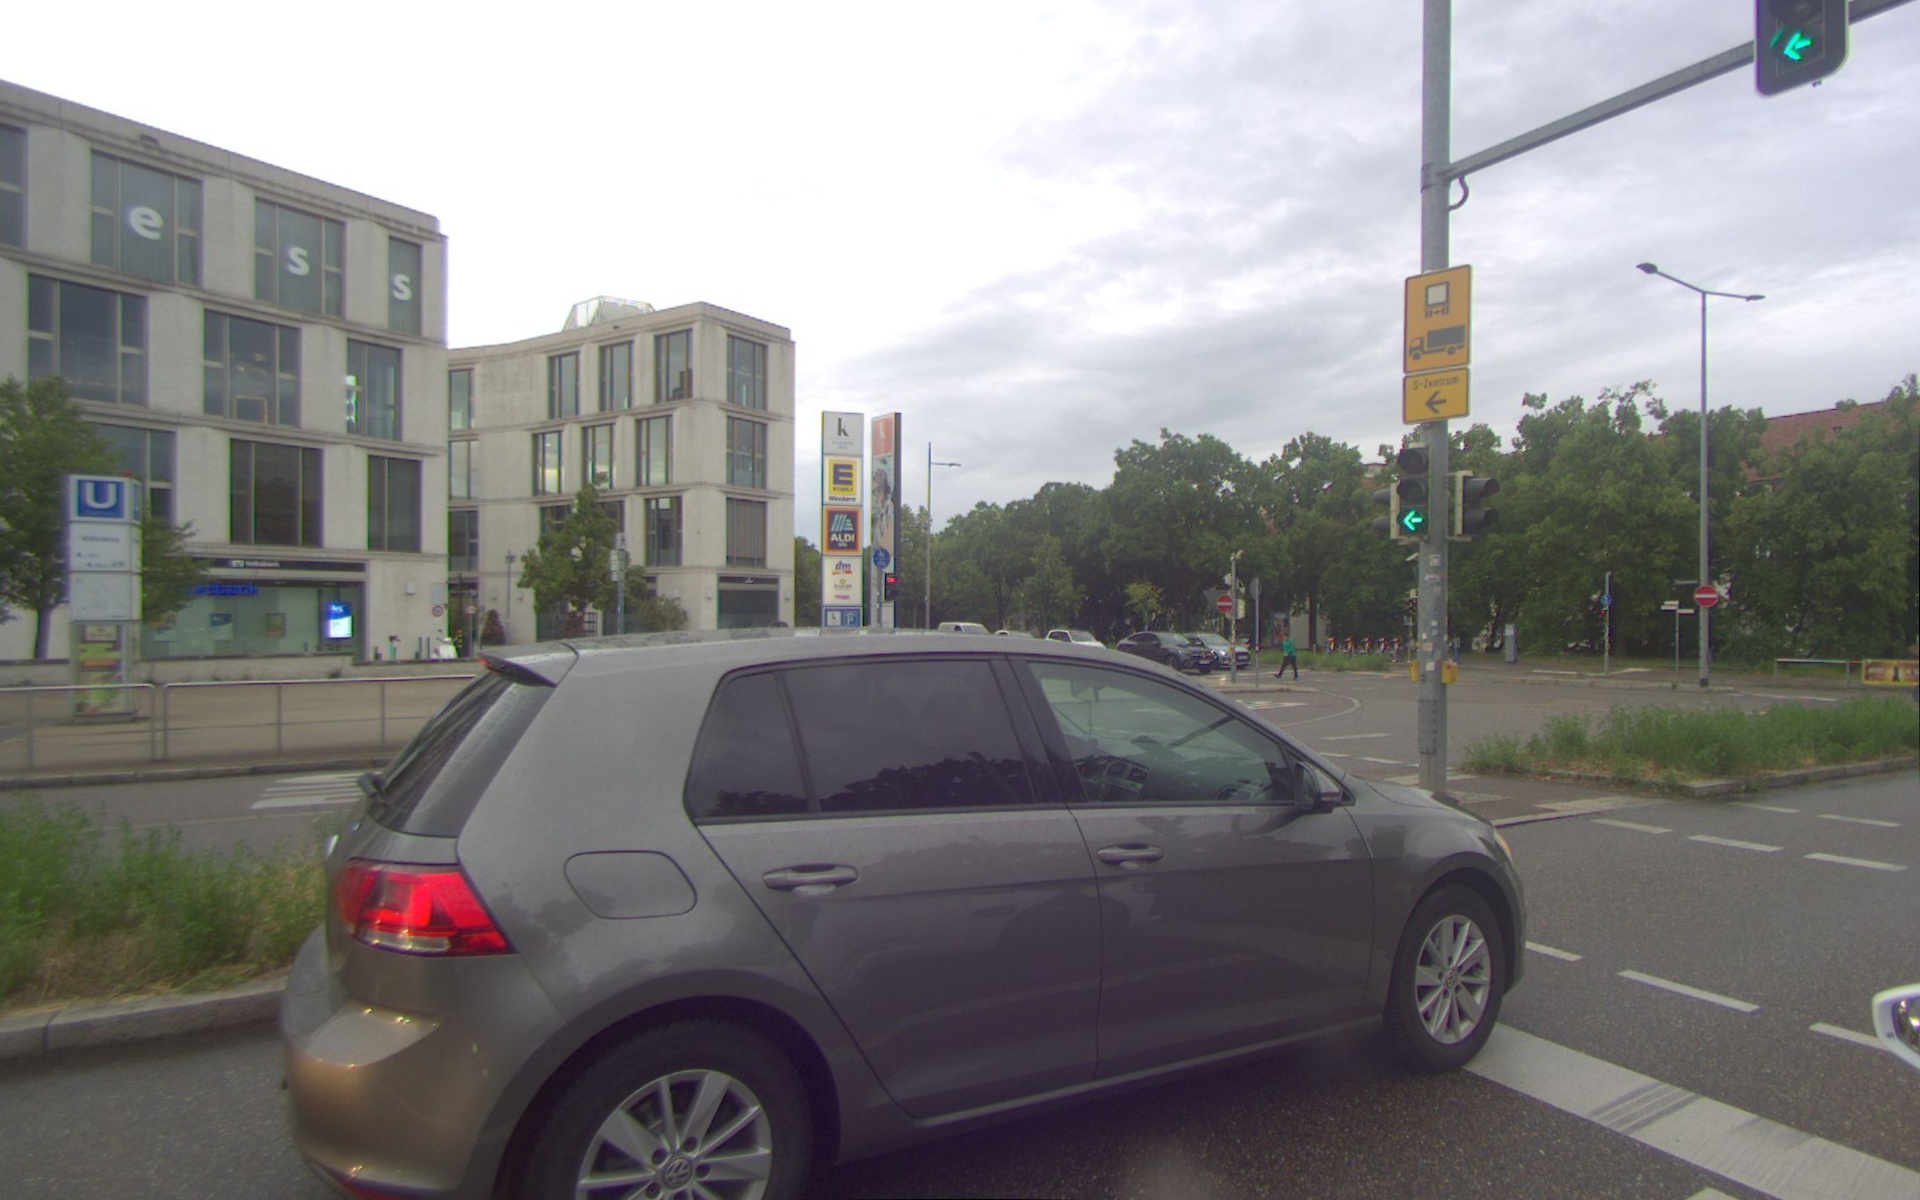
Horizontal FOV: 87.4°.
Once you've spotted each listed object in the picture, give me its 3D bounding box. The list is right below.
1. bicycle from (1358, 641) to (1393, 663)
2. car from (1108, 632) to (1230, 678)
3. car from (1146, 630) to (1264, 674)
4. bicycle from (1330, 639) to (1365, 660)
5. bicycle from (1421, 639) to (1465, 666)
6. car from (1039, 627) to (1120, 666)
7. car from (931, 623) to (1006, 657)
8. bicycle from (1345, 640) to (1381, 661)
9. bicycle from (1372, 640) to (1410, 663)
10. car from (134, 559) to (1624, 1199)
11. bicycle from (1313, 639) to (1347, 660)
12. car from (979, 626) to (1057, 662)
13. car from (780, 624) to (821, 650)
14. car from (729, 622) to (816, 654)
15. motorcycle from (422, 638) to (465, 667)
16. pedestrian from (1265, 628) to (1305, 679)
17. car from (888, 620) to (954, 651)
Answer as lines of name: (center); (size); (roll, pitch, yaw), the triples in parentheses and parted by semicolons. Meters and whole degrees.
bicycle: (21.532, 2.675, 52.050); (1.959, 1.085, 0.649); (2, 0, -30)
car: (8.247, 2.152, 40.128); (1.976, 1.520, 5.001); (2, -1, -29)
car: (10.268, 2.181, 42.558); (1.976, 1.568, 5.001); (2, -1, -29)
bicycle: (20.799, 2.673, 53.911); (1.959, 1.085, 0.649); (2, 0, -30)
bicycle: (23.617, 2.561, 49.136); (1.959, 1.266, 0.986); (2, 0, -30)
car: (5.413, 2.110, 45.917); (1.976, 1.615, 3.536); (2, 0, -29)
car: (0.396, 2.167, 55.300); (1.976, 1.615, 4.855); (2, -1, -29)
bicycle: (21.232, 2.660, 52.910); (1.959, 1.085, 0.649); (2, 0, -30)
bicycle: (22.102, 2.640, 51.525); (1.959, 1.085, 0.798); (2, 0, -30)
car: (0.162, 0.762, 3.423); (4.325, 1.501, 1.807); (2, -2, -30)
bicycle: (20.129, 2.688, 54.641); (1.959, 1.085, 0.649); (2, 0, -30)
car: (2.859, 2.208, 50.701); (1.976, 1.615, 4.185); (2, 0, -29)
car: (-12.820, 2.945, 80.504); (1.976, 2.040, 3.969); (2, -2, -29)
car: (-9.326, 1.886, 50.221); (1.968, 1.483, 3.985); (0, -2, 37)
motorcycle: (-14.358, 1.454, 27.910); (1.081, 0.750, 0.522); (2, 0, 29)
pedestrian: (11.417, 1.879, 35.302); (0.932, 1.750, 0.920); (2, 0, -23)
car: (-2.389, 2.119, 60.290); (1.976, 1.615, 4.855); (2, -1, -29)
